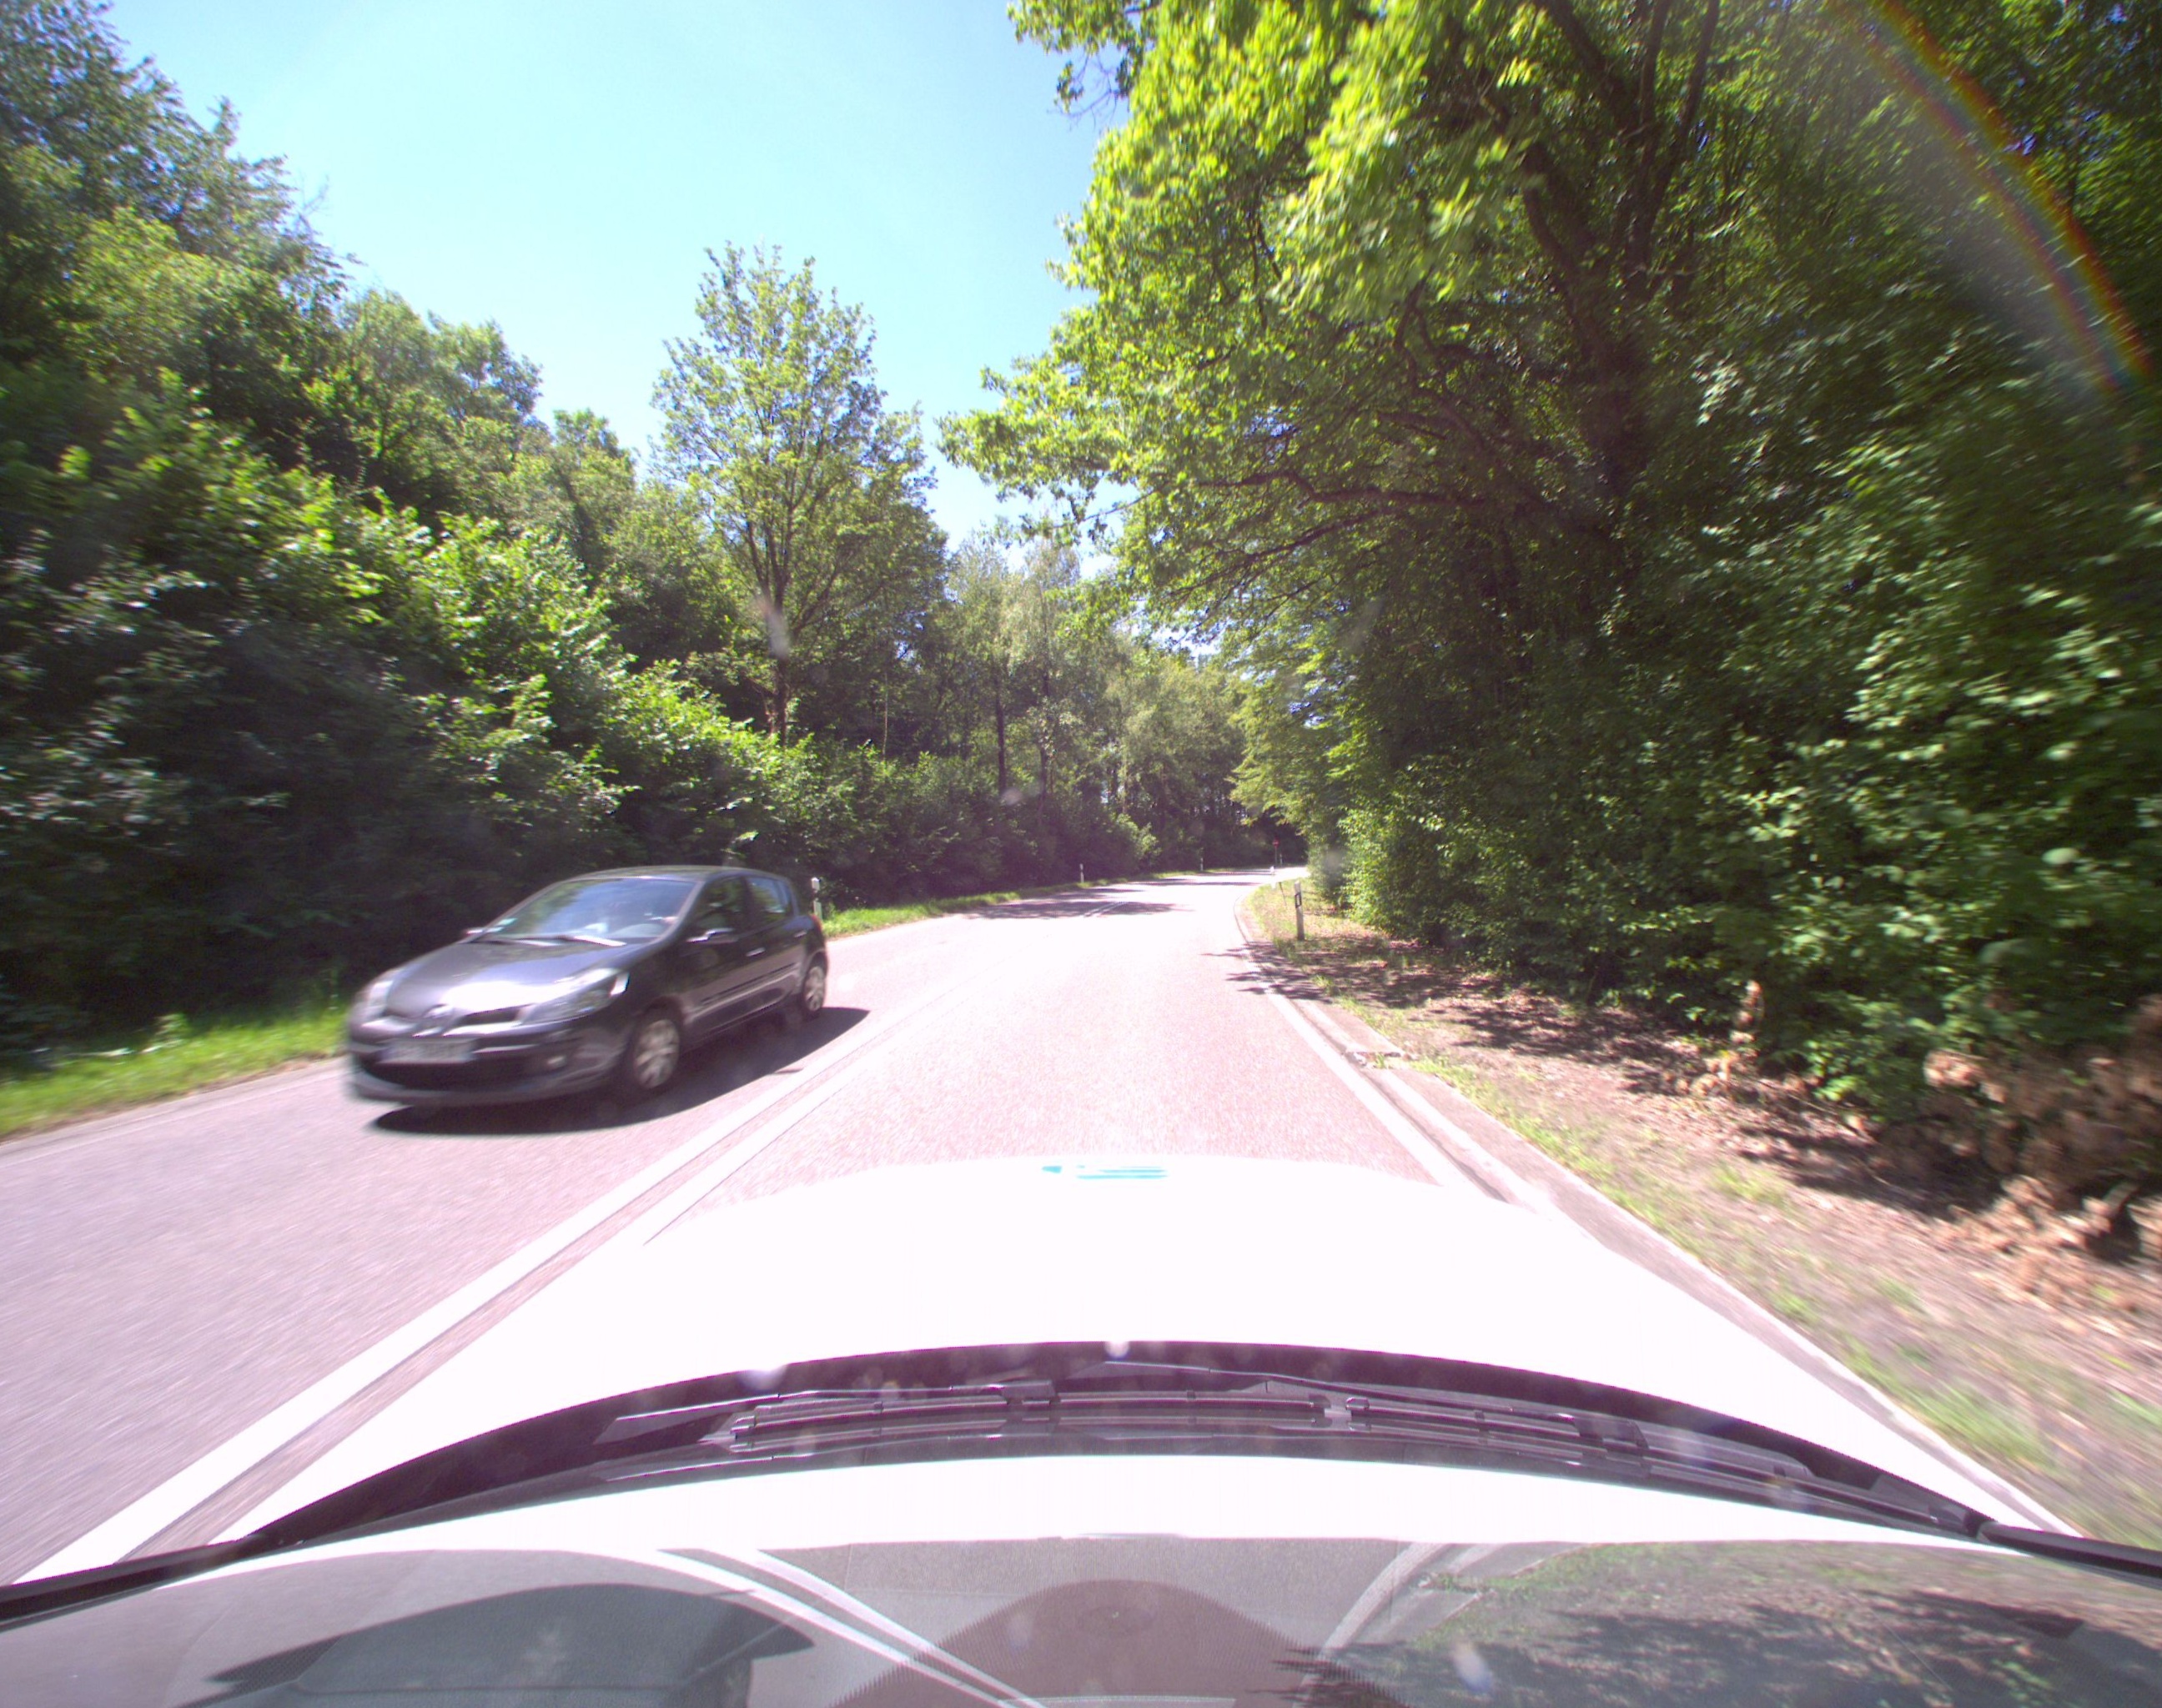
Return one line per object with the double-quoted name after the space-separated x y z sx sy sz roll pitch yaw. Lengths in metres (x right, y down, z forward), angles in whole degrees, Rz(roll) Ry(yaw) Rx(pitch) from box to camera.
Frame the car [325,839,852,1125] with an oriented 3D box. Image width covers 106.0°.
-3.376 0.764 6.592 1.670 1.574 3.898 -2 -1 3 "car"
